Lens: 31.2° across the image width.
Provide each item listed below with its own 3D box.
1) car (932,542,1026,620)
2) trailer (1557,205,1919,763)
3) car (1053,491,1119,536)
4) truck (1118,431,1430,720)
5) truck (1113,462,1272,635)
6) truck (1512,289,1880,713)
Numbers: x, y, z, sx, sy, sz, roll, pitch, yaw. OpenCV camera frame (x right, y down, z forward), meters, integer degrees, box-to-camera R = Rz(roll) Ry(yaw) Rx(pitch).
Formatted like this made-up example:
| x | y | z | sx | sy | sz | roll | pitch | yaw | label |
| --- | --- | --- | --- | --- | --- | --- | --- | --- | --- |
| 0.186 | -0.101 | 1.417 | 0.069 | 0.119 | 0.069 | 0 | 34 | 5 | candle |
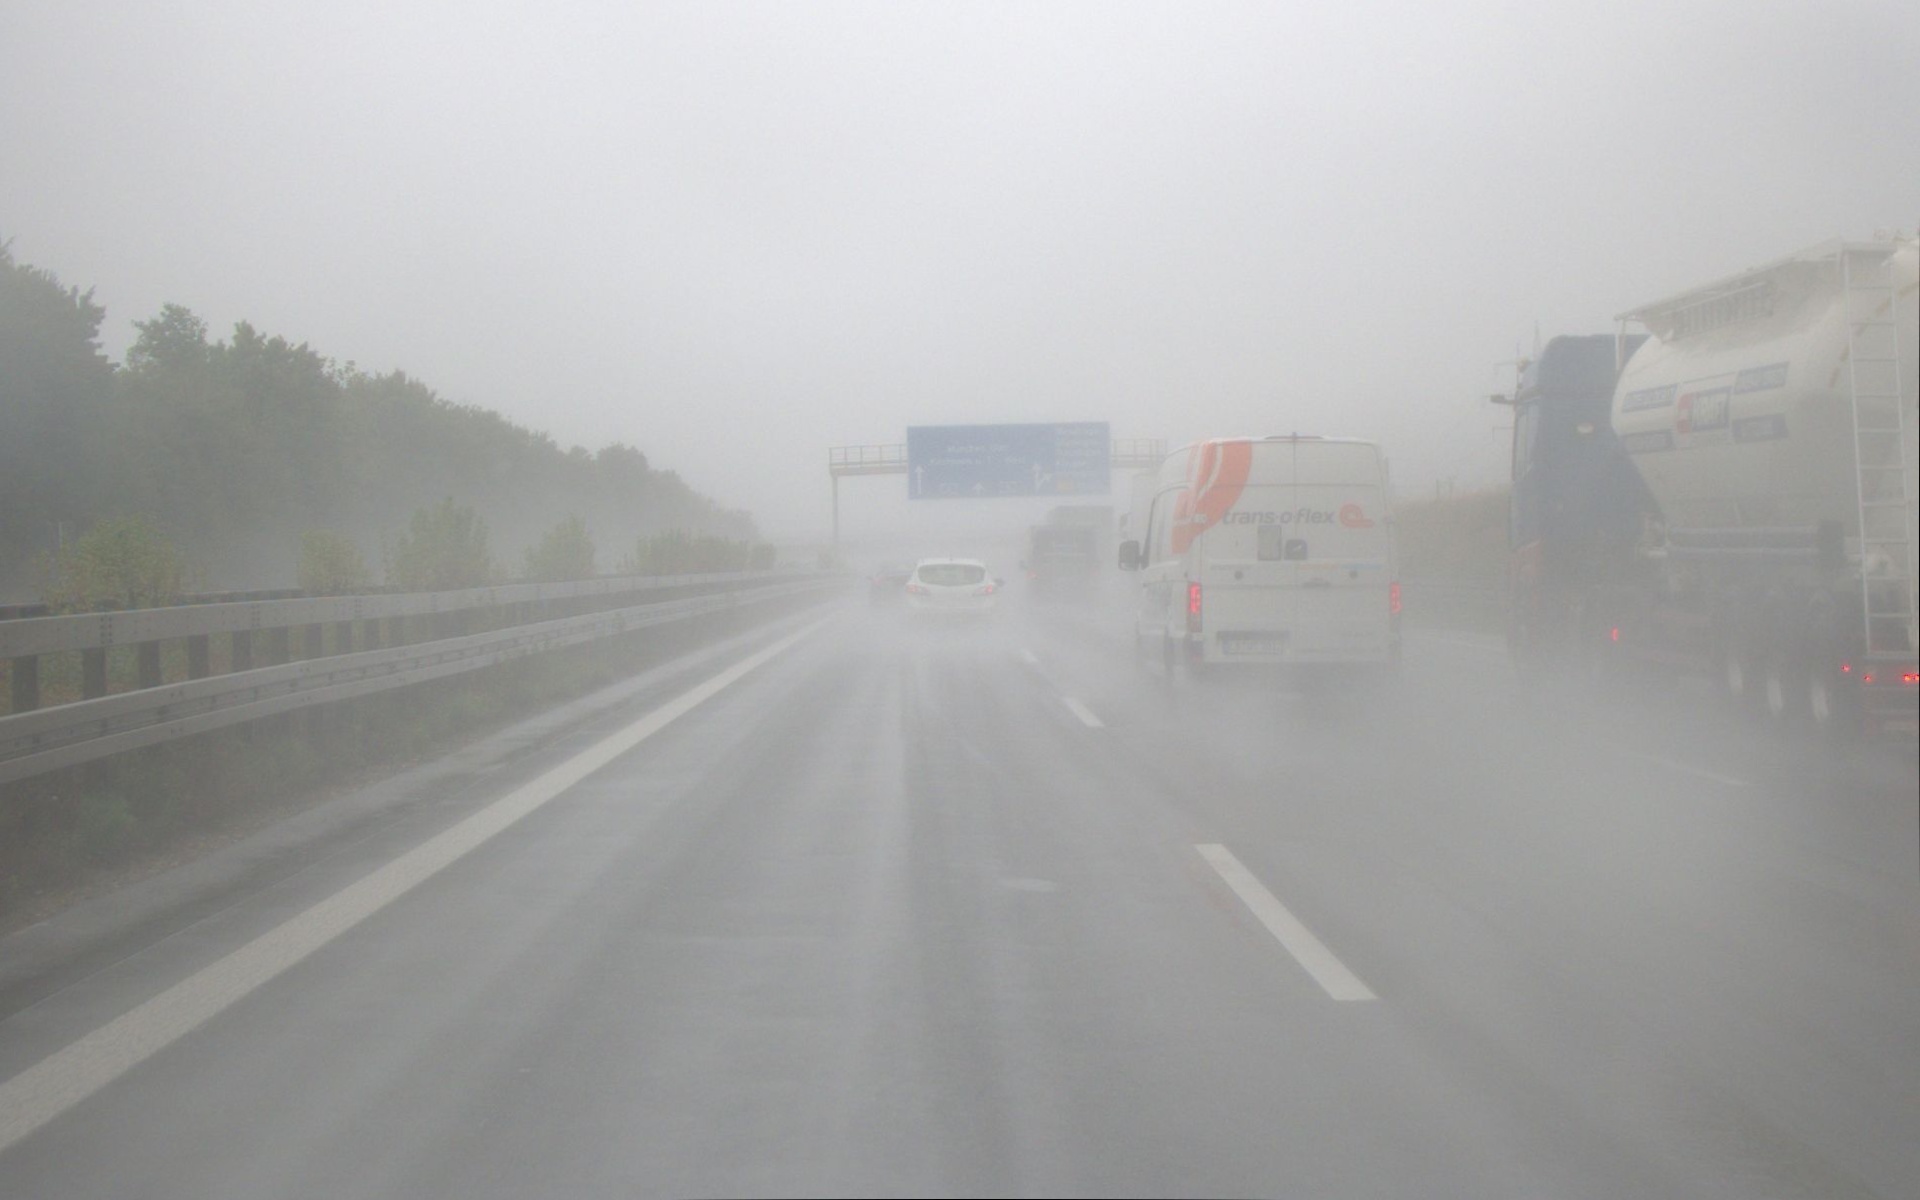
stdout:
| x | y | z | sx | sy | sz | roll | pitch | yaw | label |
| --- | --- | --- | --- | --- | --- | --- | --- | --- | --- |
| 0.315 | -0.365 | 62.070 | 1.605 | 1.333 | 3.848 | 1 | 1 | -1 | car |
| 7.458 | -0.903 | 29.426 | 2.497 | 3.869 | 11.067 | 1 | 1 | -1 | trailer |
| 5.818 | -3.997 | 159.508 | 2.788 | 2.007 | 4.993 | 1 | 1 | -1 | car |
| 2.858 | -0.272 | 32.682 | 2.419 | 2.484 | 5.560 | 1 | 1 | 0 | truck |
| 6.534 | -1.410 | 99.531 | 3.039 | 4.572 | 16.352 | 1 | 0 | -1 | truck |
| 7.355 | -0.980 | 34.984 | 2.496 | 3.970 | 5.076 | 1 | 1 | -1 | truck |
